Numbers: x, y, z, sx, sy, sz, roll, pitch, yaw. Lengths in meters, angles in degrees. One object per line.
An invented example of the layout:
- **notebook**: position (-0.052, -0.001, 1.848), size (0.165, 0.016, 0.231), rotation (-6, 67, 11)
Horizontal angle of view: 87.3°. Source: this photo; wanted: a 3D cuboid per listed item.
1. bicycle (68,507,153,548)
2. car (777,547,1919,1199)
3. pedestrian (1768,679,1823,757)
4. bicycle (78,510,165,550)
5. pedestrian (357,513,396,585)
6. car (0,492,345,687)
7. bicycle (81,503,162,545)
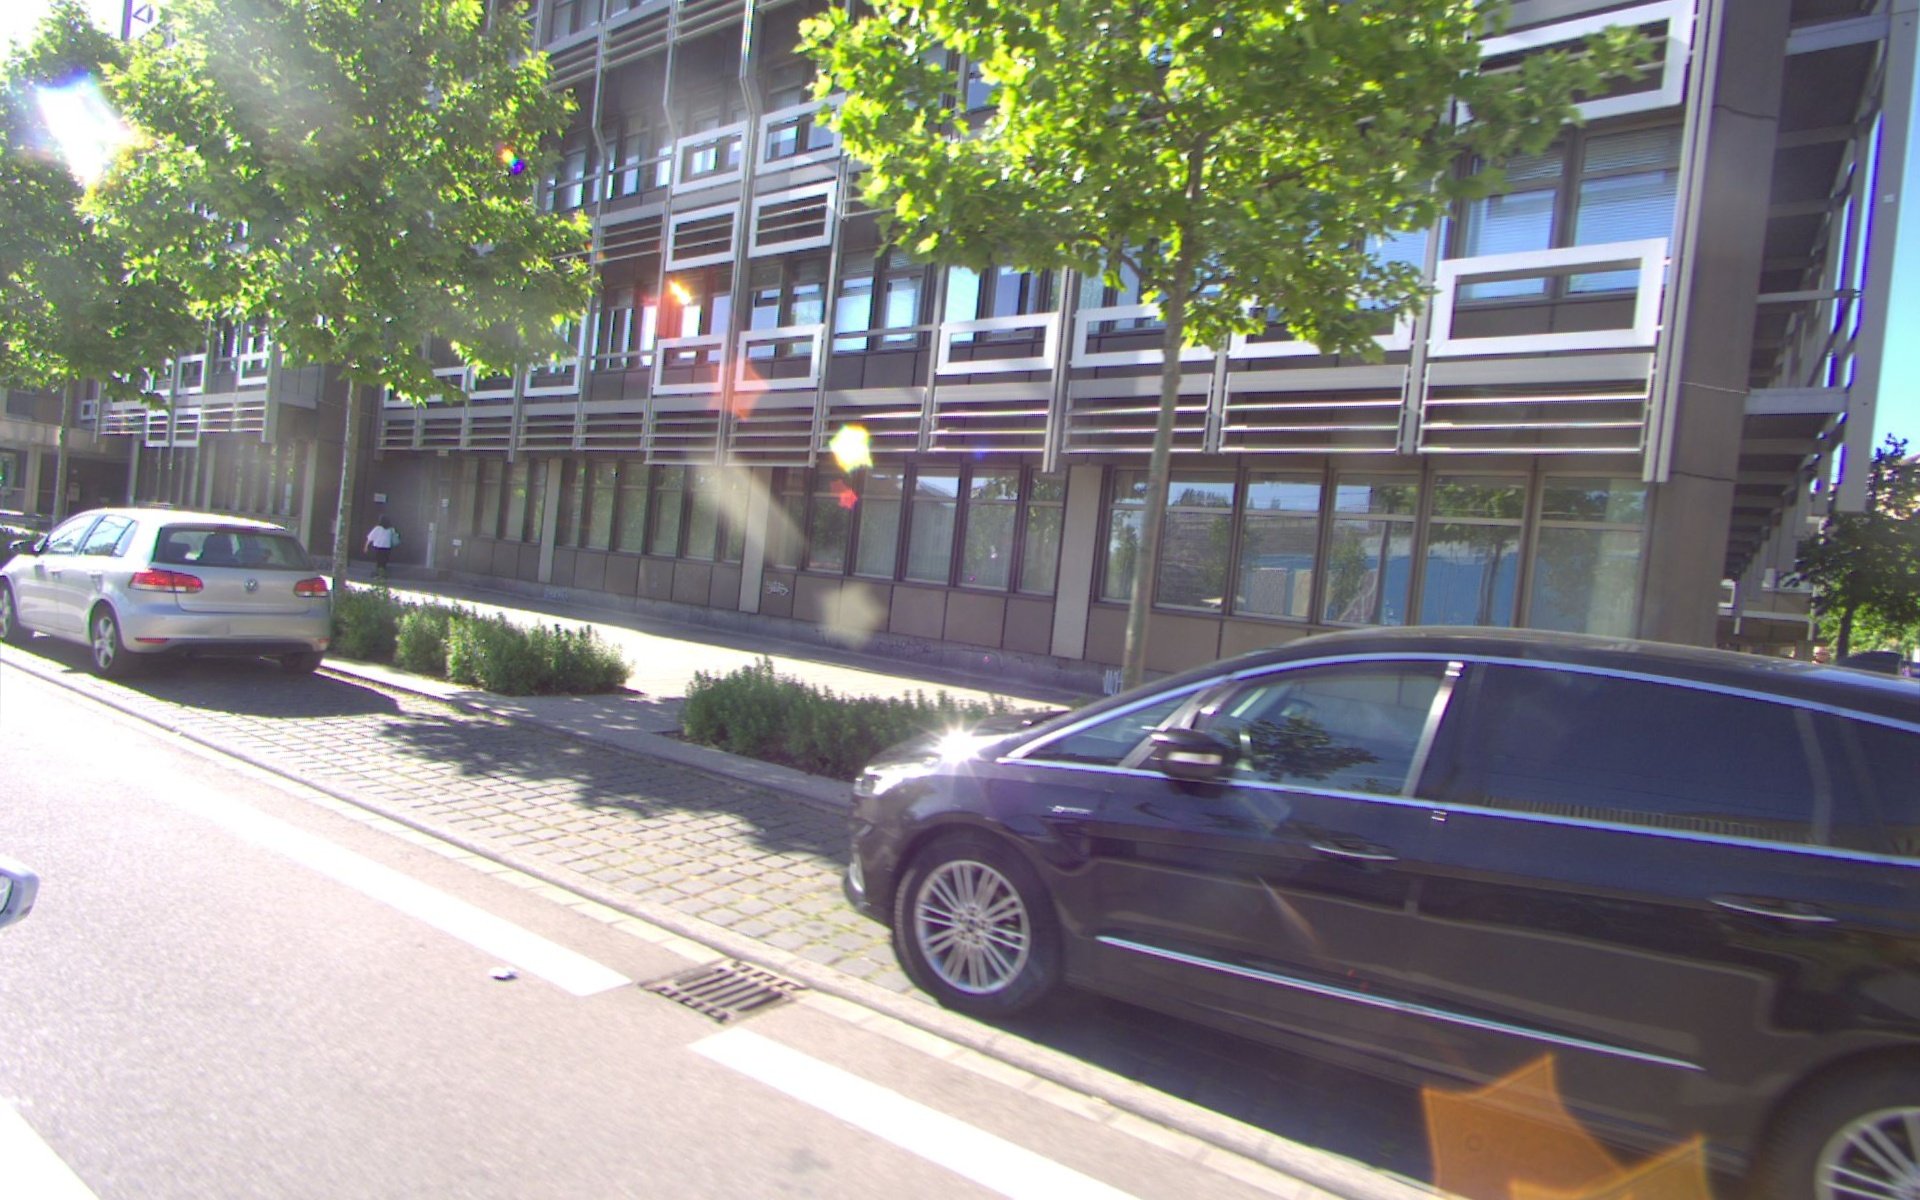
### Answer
- **bicycle**: position (-25.217, -2.137, 29.888), size (0.420, 1.024, 1.855), rotation (7, 3, 37)
- **car**: position (1.624, 0.880, 3.906), size (4.394, 1.680, 1.750), rotation (7, 1, 30)
- **pedestrian**: position (20.822, 2.932, 25.092), size (0.762, 1.806, 0.639), rotation (7, 2, 29)
- **bicycle**: position (-24.144, -2.010, 28.996), size (0.420, 0.951, 1.855), rotation (7, 3, 37)
- **pedestrian**: position (-13.977, -1.217, 24.099), size (0.663, 1.645, 0.510), rotation (7, 4, 36)
- **car**: position (-8.131, -0.182, 10.113), size (4.086, 1.484, 1.618), rotation (7, 2, 32)
- **bicycle**: position (-25.846, -2.321, 31.029), size (0.420, 1.112, 1.855), rotation (7, 3, 37)
